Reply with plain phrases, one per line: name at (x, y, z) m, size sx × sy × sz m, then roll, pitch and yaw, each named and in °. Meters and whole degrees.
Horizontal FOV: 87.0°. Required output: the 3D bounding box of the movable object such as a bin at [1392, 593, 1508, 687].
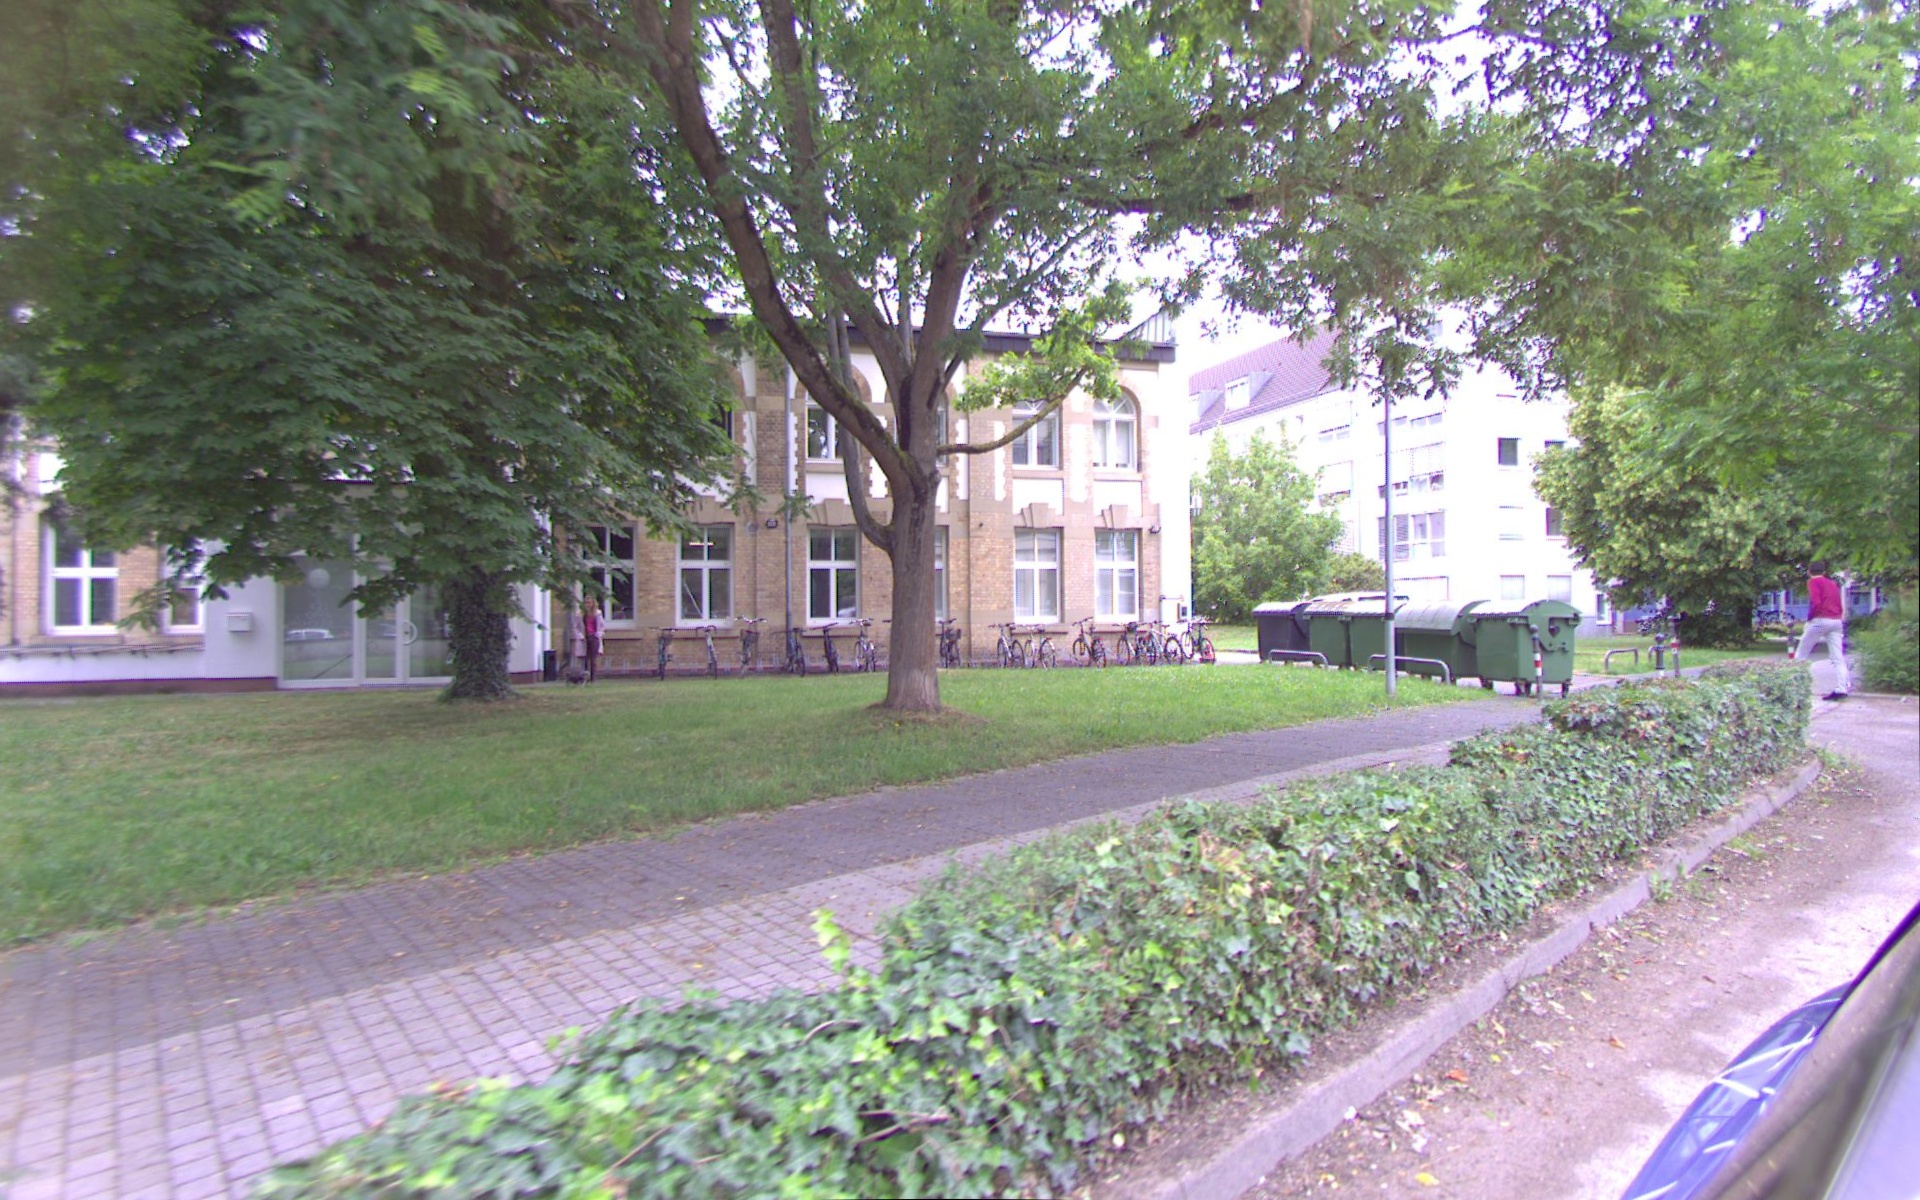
movable object such as a bin at (8.029, 0.632, 16.640) m, size 1.085 × 1.469 × 1.288 m, roll -1°, pitch -1°, yaw -19°

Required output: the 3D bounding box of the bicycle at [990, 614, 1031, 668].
bicycle at (1.107, 0.893, 22.521) m, size 0.451 × 1.129 × 1.748 m, roll 0°, pitch -1°, yaw -13°

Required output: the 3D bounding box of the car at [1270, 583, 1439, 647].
car at (12.495, 0.502, 32.164) m, size 4.673 × 1.898 × 1.904 m, roll -1°, pitch -3°, yaw -13°

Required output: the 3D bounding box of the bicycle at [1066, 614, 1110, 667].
bicycle at (2.874, 0.884, 22.800) m, size 0.451 × 1.129 × 1.747 m, roll 0°, pitch -1°, yaw -11°

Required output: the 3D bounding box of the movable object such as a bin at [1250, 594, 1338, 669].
movable object such as a bin at (6.905, 0.637, 20.959) m, size 1.085 × 1.469 × 1.365 m, roll -1°, pitch -1°, yaw -20°

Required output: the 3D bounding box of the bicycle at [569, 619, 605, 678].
bicycle at (-7.517, 0.949, 20.454) m, size 0.451 × 1.129 × 1.748 m, roll 0°, pitch -1°, yaw -13°

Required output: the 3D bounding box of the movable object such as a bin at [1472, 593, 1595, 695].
movable object such as a bin at (8.592, 0.634, 15.227) m, size 1.050 × 1.452 × 1.276 m, roll 0°, pitch 0°, yaw -5°

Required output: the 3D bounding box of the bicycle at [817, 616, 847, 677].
bicycle at (-2.700, 0.955, 21.264) m, size 0.451 × 1.128 × 1.748 m, roll 0°, pitch 2°, yaw -13°

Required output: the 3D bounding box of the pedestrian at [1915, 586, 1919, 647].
pedestrian at (27.954, 0.476, 28.941) m, size 0.608 × 1.772 × 0.682 m, roll 0°, pitch -1°, yaw -10°

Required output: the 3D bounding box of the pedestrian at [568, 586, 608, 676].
pedestrian at (-6.769, 0.558, 18.436) m, size 0.614 × 1.607 × 0.605 m, roll -1°, pitch -1°, yaw -15°

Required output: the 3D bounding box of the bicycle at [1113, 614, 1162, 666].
bicycle at (4.063, 0.893, 23.256) m, size 0.451 × 1.129 × 1.748 m, roll 0°, pitch -1°, yaw -13°

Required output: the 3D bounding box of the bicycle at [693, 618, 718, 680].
bicycle at (-5.202, 0.977, 20.762) m, size 0.451 × 1.128 × 1.748 m, roll 0°, pitch 1°, yaw -13°

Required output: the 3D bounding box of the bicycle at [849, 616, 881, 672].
bicycle at (-2.043, 0.914, 21.647) m, size 0.451 × 1.129 × 1.748 m, roll 0°, pitch -1°, yaw -13°

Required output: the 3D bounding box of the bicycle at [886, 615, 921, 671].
bicycle at (-1.224, 0.904, 21.771) m, size 0.451 × 1.129 × 1.748 m, roll 0°, pitch -1°, yaw -13°

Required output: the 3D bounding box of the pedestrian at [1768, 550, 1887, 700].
pedestrian at (12.583, 0.350, 14.689) m, size 1.176 × 2.090 × 0.796 m, roll 0°, pitch -1°, yaw -19°

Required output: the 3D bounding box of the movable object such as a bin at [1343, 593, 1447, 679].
movable object such as a bin at (7.774, 0.629, 18.138) m, size 1.085 × 1.469 × 1.297 m, roll -1°, pitch -1°, yaw -19°

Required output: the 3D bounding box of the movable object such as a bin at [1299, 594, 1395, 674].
movable object such as a bin at (7.449, 0.628, 19.529) m, size 1.085 × 1.469 × 1.329 m, roll -1°, pitch -1°, yaw -20°

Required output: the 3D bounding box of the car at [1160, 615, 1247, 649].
car at (13.332, 1.742, 55.461) m, size 4.250 × 1.757 × 2.004 m, roll 0°, pitch -1°, yaw -20°

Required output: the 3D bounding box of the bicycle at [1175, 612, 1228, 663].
bicycle at (5.619, 0.850, 23.661) m, size 0.451 × 1.129 × 1.748 m, roll 0°, pitch -1°, yaw -13°

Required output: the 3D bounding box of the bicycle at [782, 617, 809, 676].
bicycle at (-3.455, 0.946, 21.237) m, size 0.451 × 1.128 × 1.748 m, roll 0°, pitch 1°, yaw -13°

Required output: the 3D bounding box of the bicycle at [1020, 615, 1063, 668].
bicycle at (1.811, 0.905, 22.678) m, size 0.451 × 1.129 × 1.748 m, roll 0°, pitch -1°, yaw -13°

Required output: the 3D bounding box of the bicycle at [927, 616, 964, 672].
bicycle at (-0.326, 0.932, 22.034) m, size 0.451 × 1.129 × 1.748 m, roll 0°, pitch 0°, yaw -13°

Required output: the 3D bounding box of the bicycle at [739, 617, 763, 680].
bicycle at (-4.348, 0.977, 20.962) m, size 0.451 × 1.128 × 1.749 m, roll 0°, pitch 2°, yaw -13°

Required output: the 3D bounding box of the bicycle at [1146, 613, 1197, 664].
bicycle at (4.875, 0.871, 23.443) m, size 0.451 × 1.129 × 1.748 m, roll 0°, pitch -1°, yaw -13°

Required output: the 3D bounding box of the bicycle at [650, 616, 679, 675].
bicycle at (-5.983, 0.898, 20.514) m, size 0.451 × 1.129 × 1.748 m, roll 0°, pitch -1°, yaw -13°
